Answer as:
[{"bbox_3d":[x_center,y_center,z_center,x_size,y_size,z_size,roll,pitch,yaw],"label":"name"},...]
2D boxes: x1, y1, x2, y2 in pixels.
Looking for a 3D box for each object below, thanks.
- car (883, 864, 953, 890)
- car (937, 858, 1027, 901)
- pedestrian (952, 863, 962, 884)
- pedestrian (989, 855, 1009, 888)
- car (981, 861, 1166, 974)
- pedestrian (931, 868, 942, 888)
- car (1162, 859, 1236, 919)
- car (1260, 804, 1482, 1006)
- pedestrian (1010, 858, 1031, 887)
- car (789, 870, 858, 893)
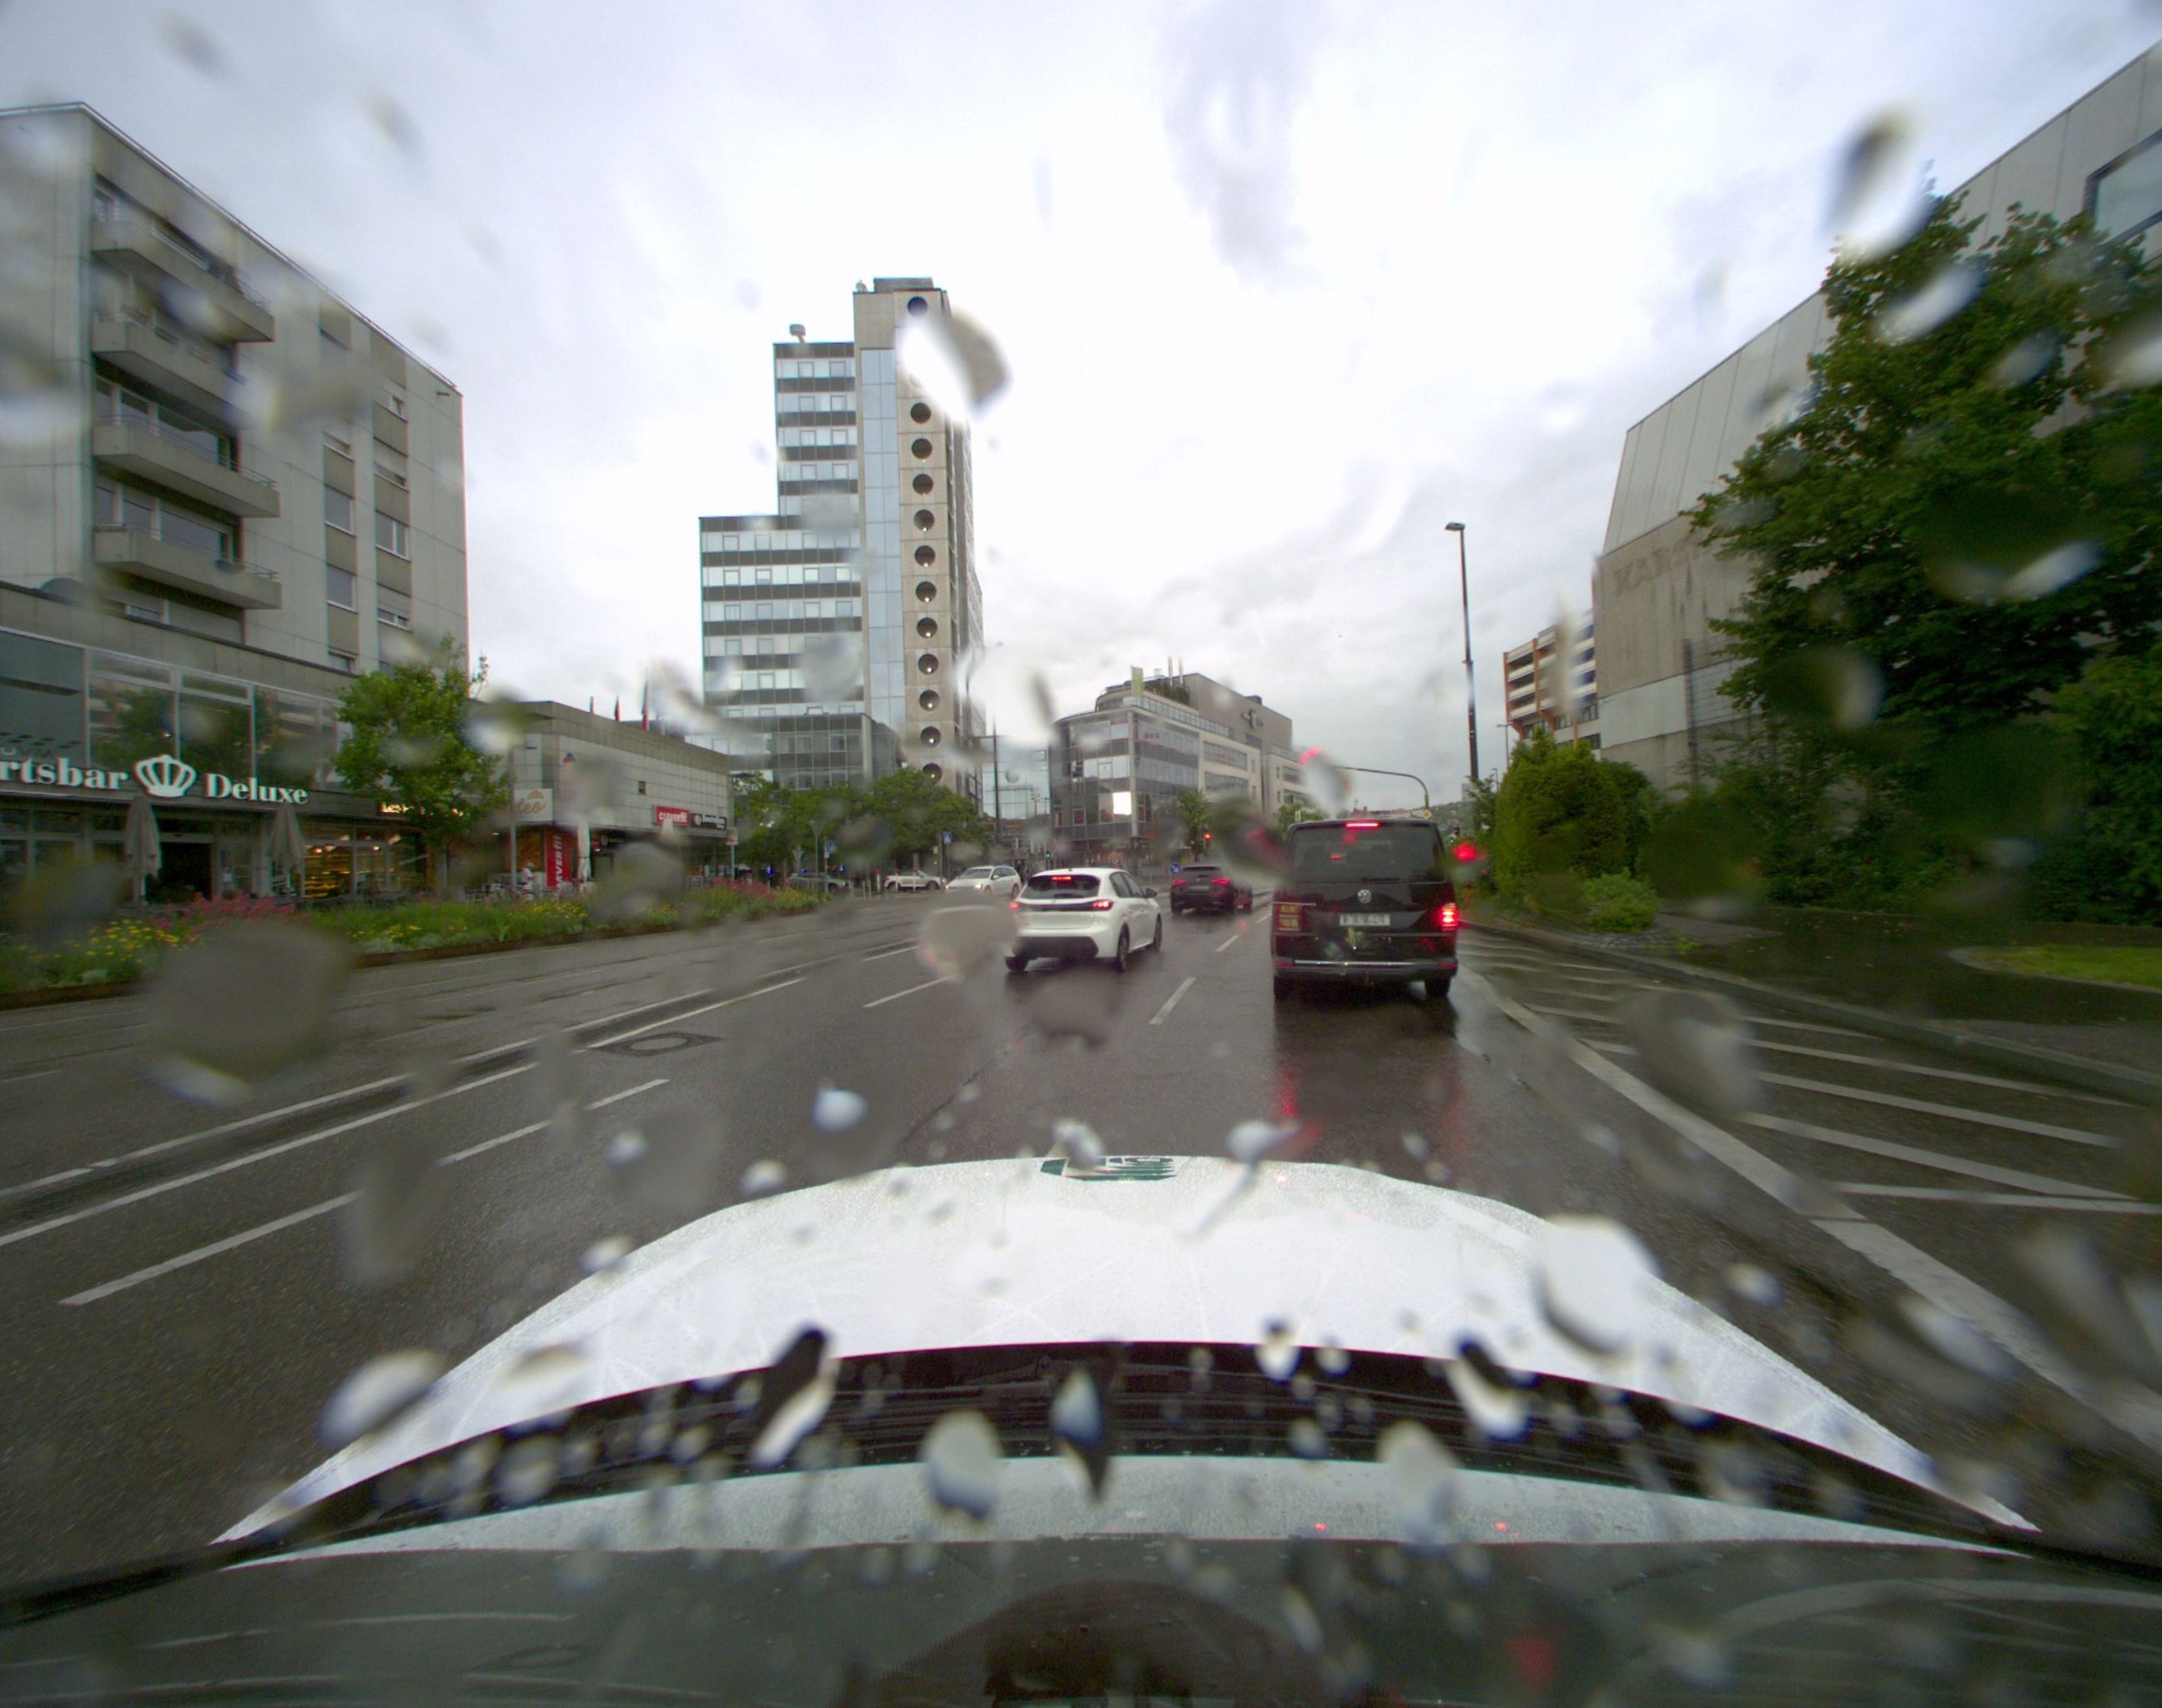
[{"bbox_3d":[-10.853,1.535,54.403,4.174,1.595,1.872,-1,-1,3],"label":"car"},{"bbox_3d":[-4.054,1.019,34.180,1.870,1.682,4.528,-2,-1,20],"label":"car"},{"bbox_3d":[-12.063,1.885,79.262,0.760,2.014,0.714,-2,-1,2],"label":"pedestrian"},{"bbox_3d":[-5.225,1.112,51.865,1.161,2.014,1.325,-2,-1,-7],"label":"pedestrian"},{"bbox_3d":[0.071,0.862,12.686,1.858,1.462,3.888,-2,-1,15],"label":"car"},{"bbox_3d":[-13.916,2.285,78.441,0.755,1.868,0.826,-2,-1,-28],"label":"pedestrian"},{"bbox_3d":[3.485,0.936,23.530,1.803,1.529,3.826,0,0,13],"label":"car"},{"bbox_3d":[3.366,0.526,10.092,1.981,1.894,4.605,-1,-1,15],"label":"car"},{"bbox_3d":[-3.912,1.200,52.887,0.837,1.819,1.031,-3,-2,31],"label":"pedestrian"},{"bbox_3d":[-17.448,1.869,55.344,4.025,1.420,1.873,-2,-1,6],"label":"car"}]
